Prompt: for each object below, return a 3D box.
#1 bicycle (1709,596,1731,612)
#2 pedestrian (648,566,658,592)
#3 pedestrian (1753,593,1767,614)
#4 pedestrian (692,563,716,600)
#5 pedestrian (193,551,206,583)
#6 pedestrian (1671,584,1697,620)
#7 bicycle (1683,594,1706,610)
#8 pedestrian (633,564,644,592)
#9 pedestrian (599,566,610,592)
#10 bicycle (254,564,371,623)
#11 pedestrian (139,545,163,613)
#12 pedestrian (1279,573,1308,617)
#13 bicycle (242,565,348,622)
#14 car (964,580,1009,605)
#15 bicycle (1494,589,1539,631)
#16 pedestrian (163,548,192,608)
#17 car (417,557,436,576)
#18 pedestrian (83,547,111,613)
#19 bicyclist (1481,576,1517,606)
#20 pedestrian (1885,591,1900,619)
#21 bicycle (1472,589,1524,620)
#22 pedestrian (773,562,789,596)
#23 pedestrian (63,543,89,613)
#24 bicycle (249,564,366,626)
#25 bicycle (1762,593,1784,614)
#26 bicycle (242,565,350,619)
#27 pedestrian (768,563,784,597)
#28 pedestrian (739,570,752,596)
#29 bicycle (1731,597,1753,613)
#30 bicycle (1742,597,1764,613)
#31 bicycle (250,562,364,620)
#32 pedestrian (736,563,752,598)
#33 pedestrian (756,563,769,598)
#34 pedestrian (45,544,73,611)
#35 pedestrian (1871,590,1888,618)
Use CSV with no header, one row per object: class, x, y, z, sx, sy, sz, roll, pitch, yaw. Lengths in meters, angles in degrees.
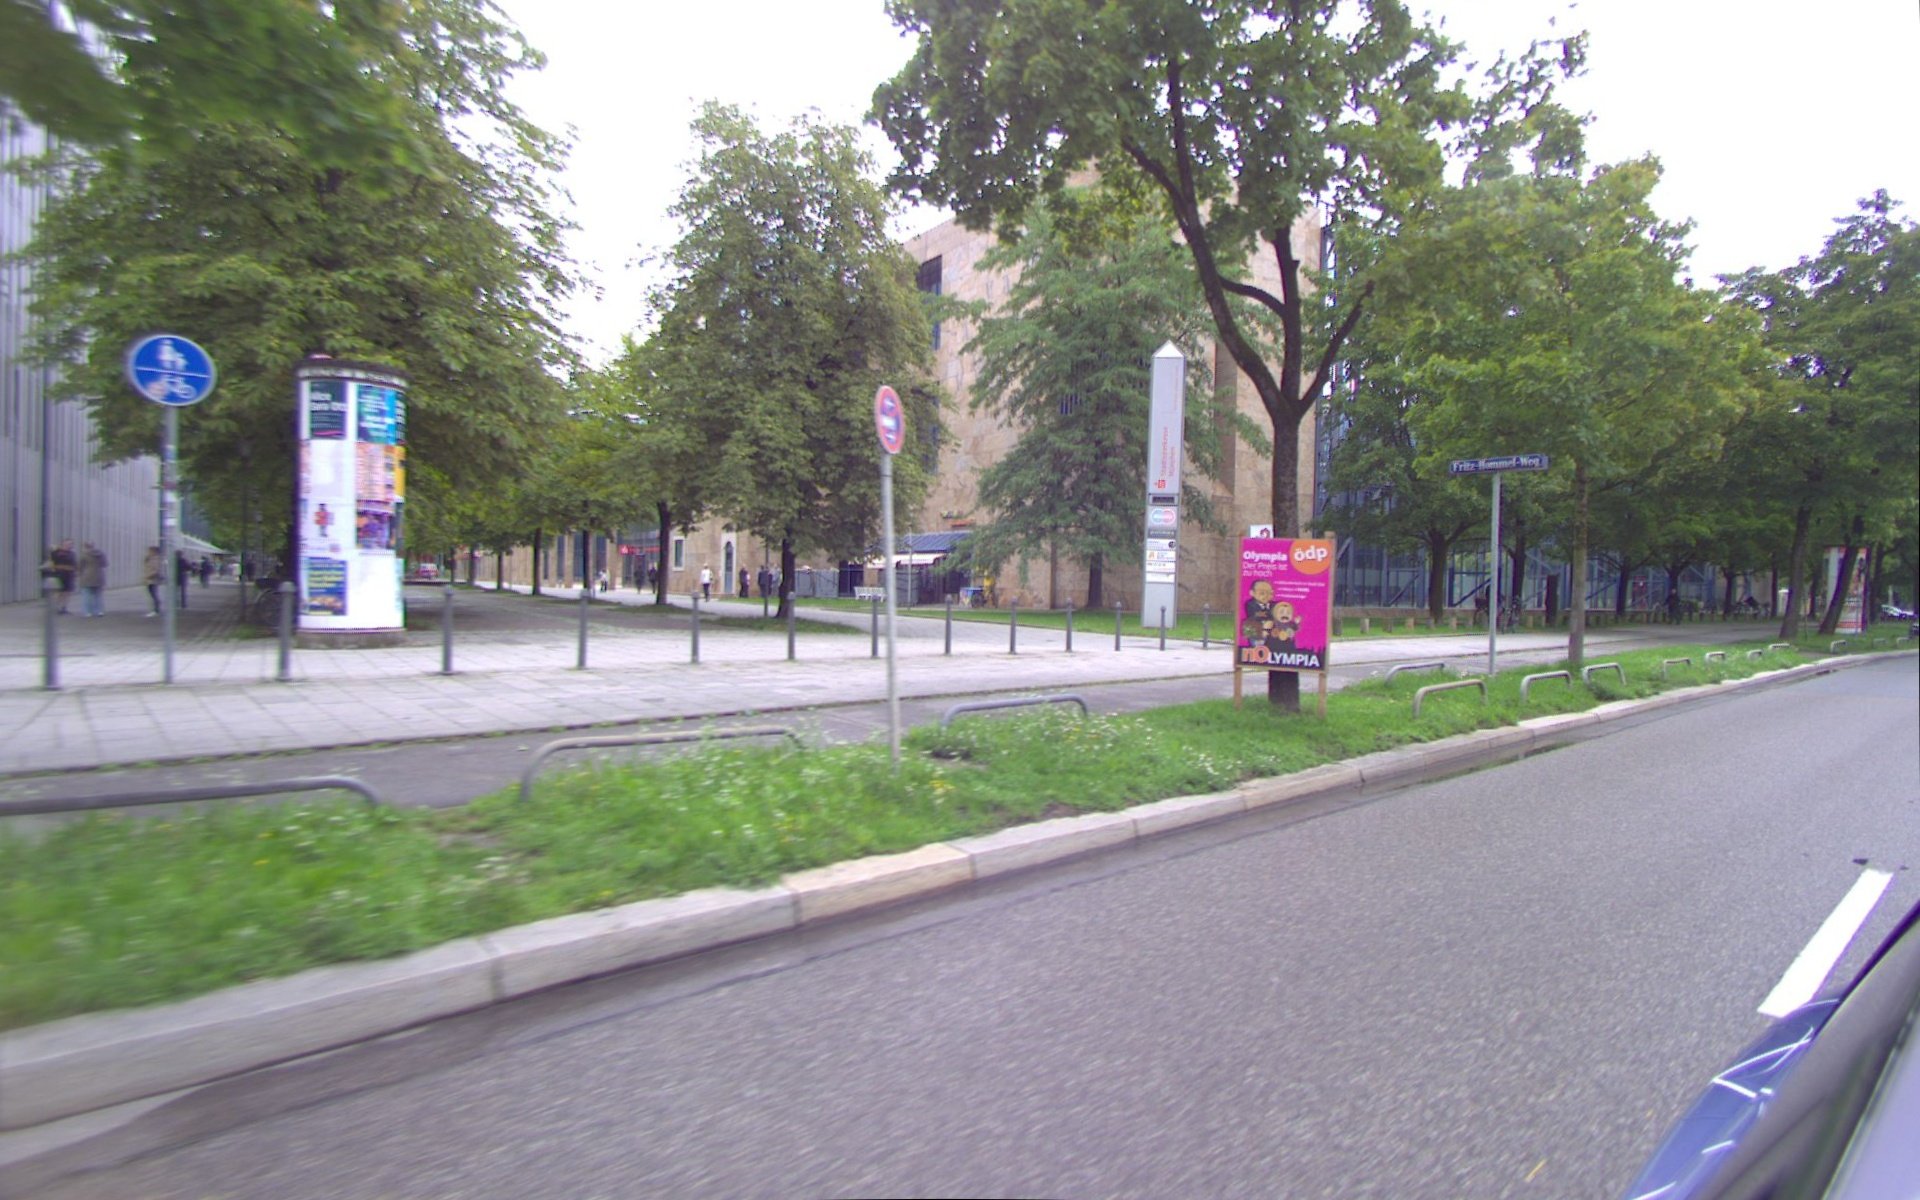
bicycle,46.487,0.240,61.874,1.730,0.952,0.619,1,1,-37
pedestrian,-19.058,-1.296,62.904,0.503,1.589,0.421,1,1,-26
pedestrian,48.017,0.209,60.728,0.418,1.193,0.507,0,3,-35
pedestrian,-11.749,-0.844,46.441,0.849,1.699,0.589,1,1,-36
pedestrian,-39.999,-1.727,53.223,0.475,1.679,0.484,1,1,-31
pedestrian,34.429,0.078,48.115,0.632,1.665,0.740,0,3,-29
bicycle,45.239,0.100,62.350,2.026,0.952,0.572,0,2,-37
pedestrian,-19.466,-1.316,61.236,0.503,1.651,0.507,1,1,-27
pedestrian,-22.095,-1.329,62.834,0.584,1.589,0.421,1,1,-24
bicycle,-14.510,-0.142,22.736,0.508,1.276,2.140,2,1,44
pedestrian,-18.947,-0.492,23.700,0.401,1.591,0.348,1,1,-39
pedestrian,12.929,-0.197,39.275,0.860,1.666,0.574,1,1,-15
bicycle,-15.556,-0.143,23.712,0.508,1.276,1.990,2,1,44
car,1.158,-0.321,43.871,2.041,1.026,0.677,-2,3,-40
bicycle,17.379,0.301,31.612,1.887,1.266,0.621,0,2,-42
pedestrian,-22.006,-0.619,28.474,0.613,1.679,0.592,1,1,-38
car,-61.933,-3.899,117.486,1.959,2.039,4.005,0,0,-28
pedestrian,-19.863,-0.462,23.297,0.342,1.510,0.346,2,1,21
bicyclist,21.224,-0.362,39.859,0.939,1.143,0.728,1,1,-14
pedestrian,57.707,0.304,62.622,0.649,1.743,0.528,0,3,-40
bicycle,21.180,0.170,39.856,1.729,1.143,0.728,1,1,-13
pedestrian,-9.145,-1.055,51.691,0.591,1.699,0.495,2,1,44
pedestrian,-20.084,-0.498,22.989,0.346,1.592,0.310,1,1,-22
bicycle,-13.917,-0.110,21.618,2.021,1.276,0.607,0,1,-44
bicycle,48.811,0.195,60.747,2.102,1.207,0.513,0,2,-37
bicycle,-16.274,-0.195,24.853,0.552,1.276,2.140,2,1,44
pedestrian,-9.226,-1.003,50.658,0.582,1.699,0.563,1,1,-37
pedestrian,-11.052,-0.875,52.174,0.418,1.299,0.507,2,1,40
bicycle,47.764,0.321,61.811,2.102,0.952,0.513,1,1,-37
bicycle,48.144,0.318,61.416,2.102,0.952,0.513,1,1,-37
bicycle,-15.038,-0.196,23.363,0.508,1.276,2.140,2,1,44
pedestrian,-10.663,-0.977,49.955,0.585,1.699,0.500,2,1,16
pedestrian,-9.761,-0.949,49.958,0.581,1.699,0.504,1,1,-15
pedestrian,-20.619,-0.508,23.162,0.386,1.510,0.385,1,1,-28
pedestrian,57.318,0.254,63.065,0.601,1.710,0.612,0,3,-40
